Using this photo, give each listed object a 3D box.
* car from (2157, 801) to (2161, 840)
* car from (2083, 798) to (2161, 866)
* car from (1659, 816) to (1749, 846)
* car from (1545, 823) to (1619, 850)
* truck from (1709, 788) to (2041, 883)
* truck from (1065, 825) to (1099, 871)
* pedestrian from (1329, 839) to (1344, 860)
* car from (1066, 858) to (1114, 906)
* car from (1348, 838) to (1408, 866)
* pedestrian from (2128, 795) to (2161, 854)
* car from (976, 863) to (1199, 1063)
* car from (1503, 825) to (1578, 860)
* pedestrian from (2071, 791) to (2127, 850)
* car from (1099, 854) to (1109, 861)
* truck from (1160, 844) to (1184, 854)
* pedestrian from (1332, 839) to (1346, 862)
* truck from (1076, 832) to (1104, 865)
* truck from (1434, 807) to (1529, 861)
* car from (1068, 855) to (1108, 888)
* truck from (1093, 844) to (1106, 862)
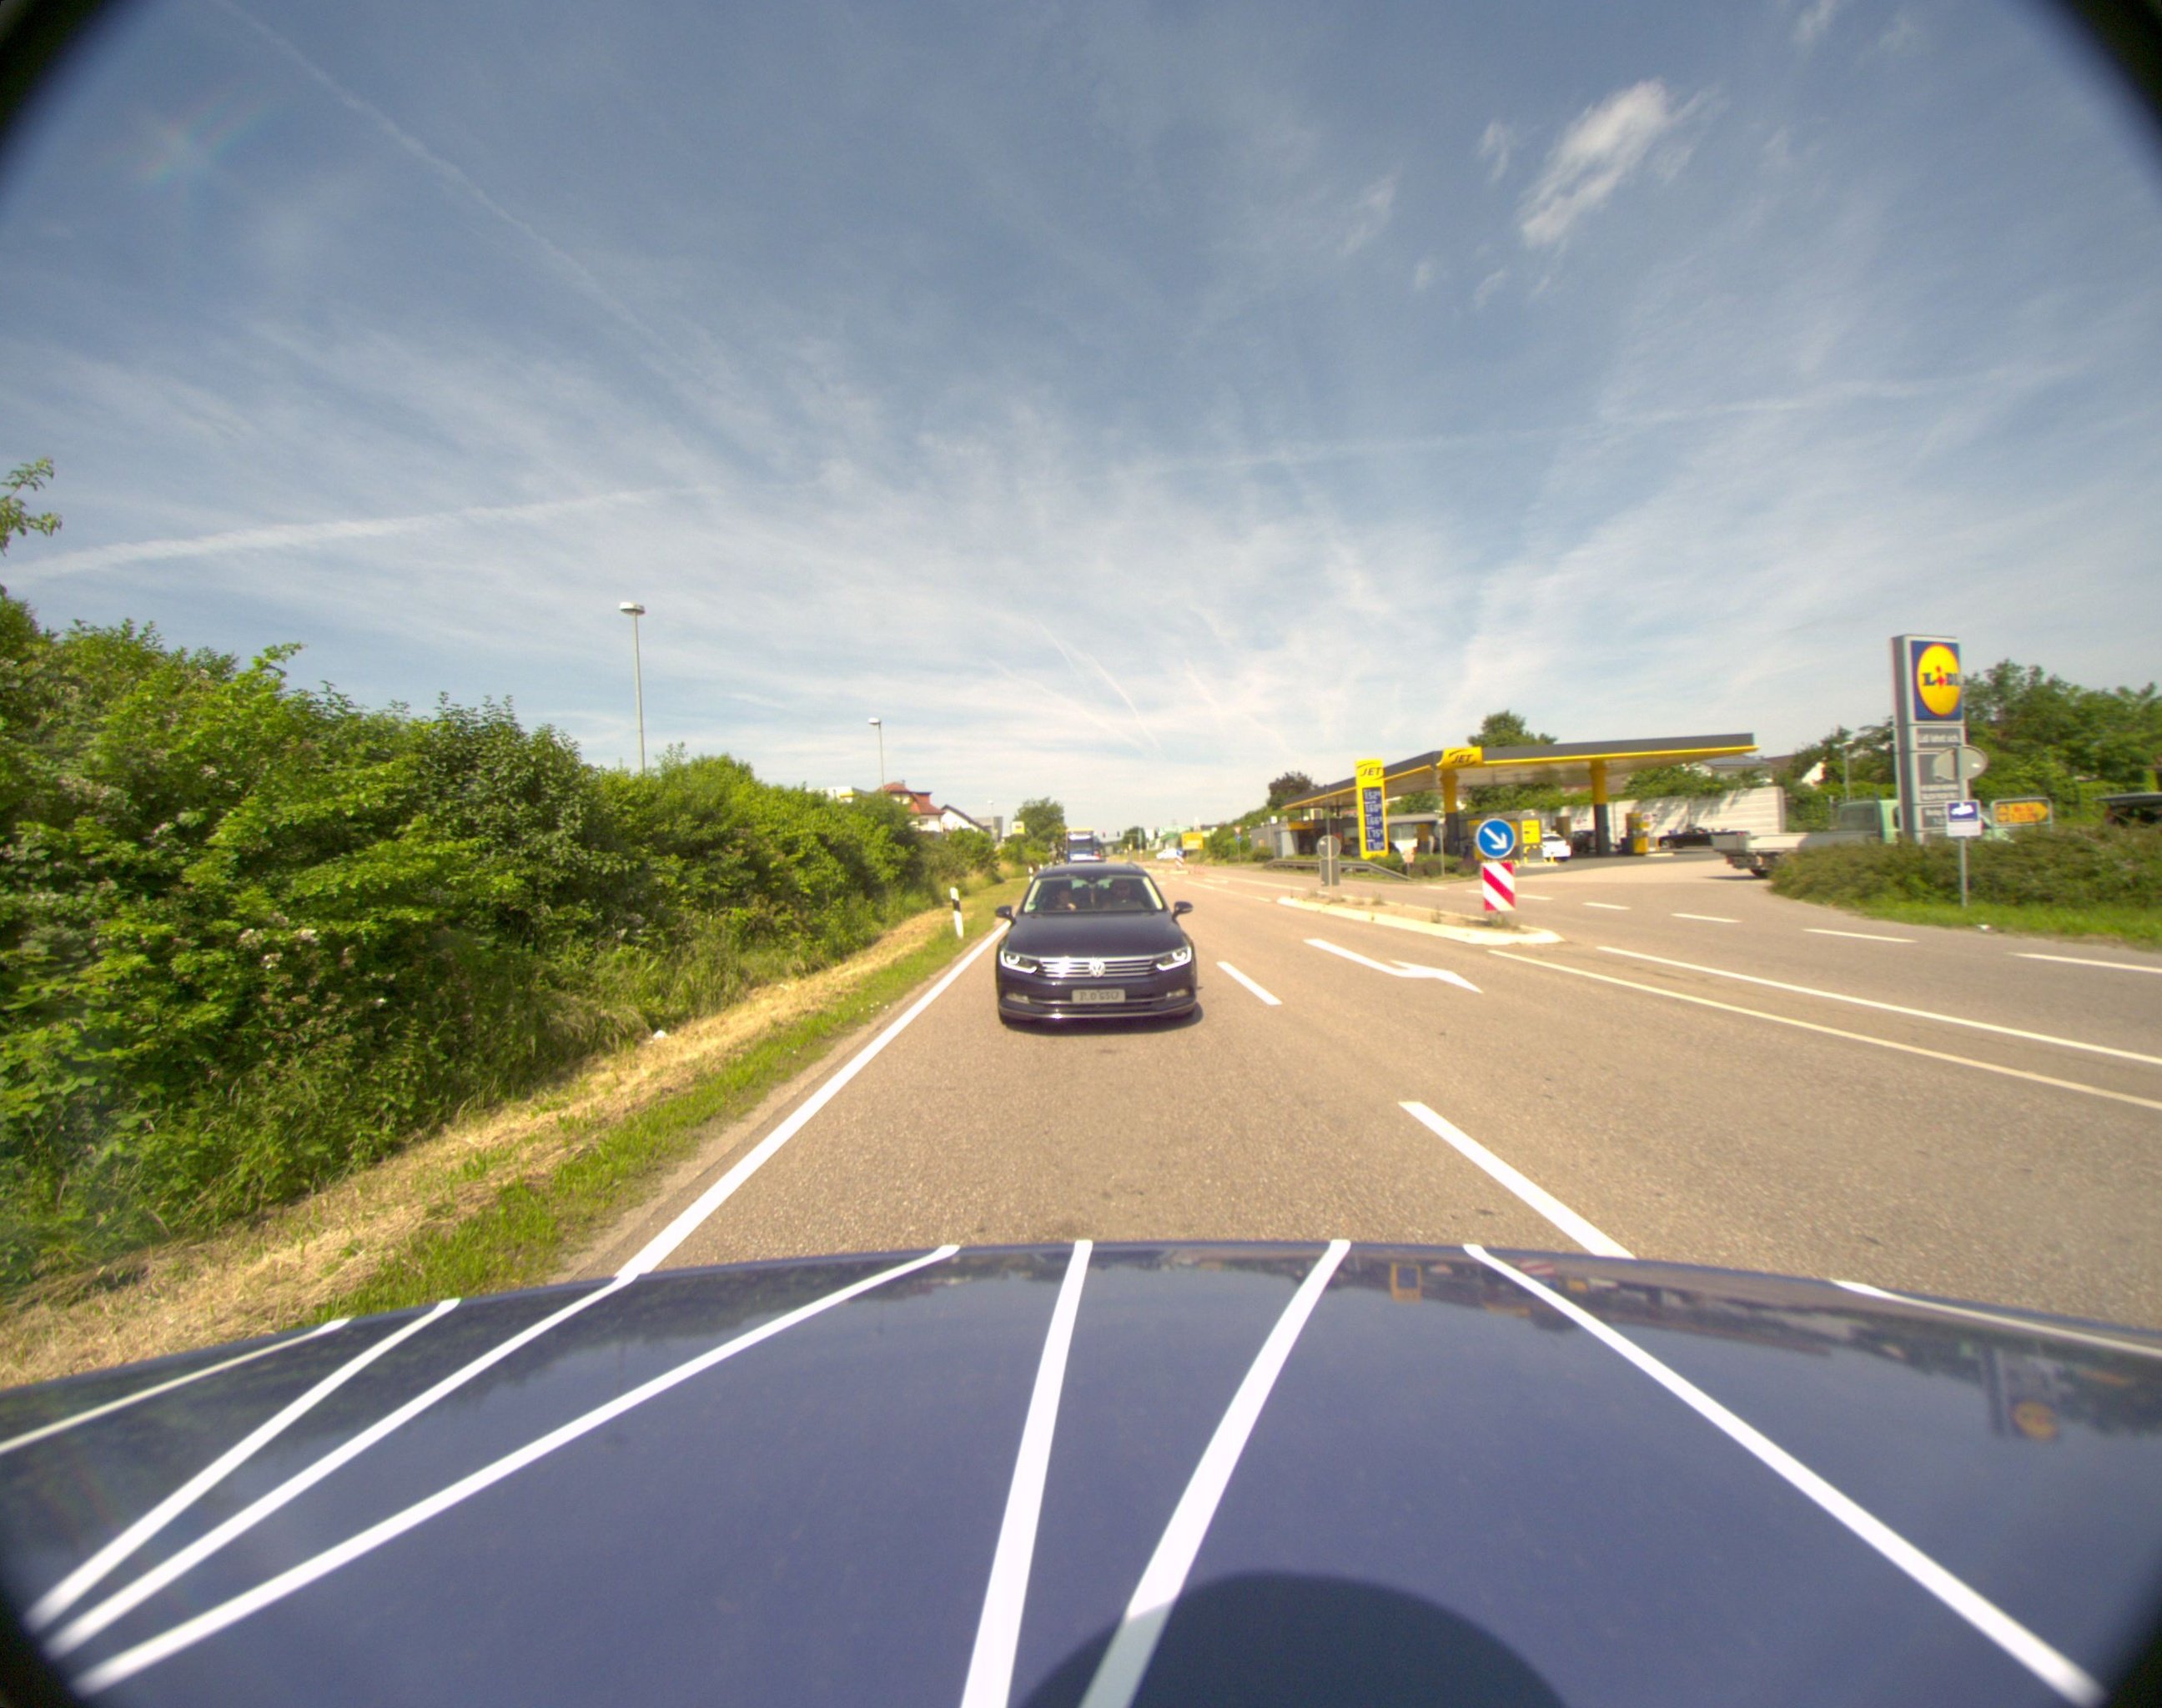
[{"bbox_3d":[44.701,-1.442,29.419,3.999,1.531,1.769,-3,0,-7],"label":"car"},{"bbox_3d":[30.712,-0.673,21.469,4.172,1.801,1.877,-3,1,-23],"label":"car"},{"bbox_3d":[37.893,-1.398,46.315,1.755,1.603,3.868,-2,0,-27],"label":"car"},{"bbox_3d":[32.231,-1.083,48.977,1.753,1.603,3.873,-2,0,-10],"label":"car"},{"bbox_3d":[22.648,-0.456,22.089,6.337,2.361,2.252,-2,0,18],"label":"truck"},{"bbox_3d":[0.186,-0.563,74.354,2.855,3.999,12.916,-2,0,1],"label":"truck"},{"bbox_3d":[18.032,-0.301,53.574,0.914,1.419,0.494,-2,1,10],"label":"pedestrian"},{"bbox_3d":[0.317,0.893,25.991,1.471,1.451,3.797,-2,0,1],"label":"car"},{"bbox_3d":[19.075,-0.113,49.064,1.999,1.696,4.263,-2,0,-3],"label":"car"},{"bbox_3d":[28.726,-0.787,20.291,0.705,1.566,0.807,-3,2,-27],"label":"pedestrian"},{"bbox_3d":[0.094,0.917,8.622,1.756,1.493,4.925,-2,0,1],"label":"car"},{"bbox_3d":[24.276,-0.563,40.283,1.736,1.717,4.001,-1,0,3],"label":"car"},{"bbox_3d":[28.168,-0.922,21.031,0.705,1.566,0.807,-3,2,-27],"label":"pedestrian"},{"bbox_3d":[4.208,0.571,138.479,1.786,1.210,4.000,-3,0,2],"label":"car"},{"bbox_3d":[19.306,-1.037,161.252,4.773,1.997,1.999,-3,1,-4],"label":"truck"},{"bbox_3d":[20.790,-0.280,61.239,0.798,1.827,0.640,-3,1,1],"label":"pedestrian"},{"bbox_3d":[1.099,-0.668,97.775,2.676,3.897,10.045,-2,0,-4],"label":"truck"},{"bbox_3d":[23.886,-1.170,45.676,2.250,2.906,6.282,-2,1,-1],"label":"truck"},{"bbox_3d":[0.384,0.814,37.579,1.814,1.466,3.974,-2,0,1],"label":"car"},{"bbox_3d":[4.260,-0.180,179.364,2.855,3.999,12.916,-2,0,1],"label":"truck"}]
